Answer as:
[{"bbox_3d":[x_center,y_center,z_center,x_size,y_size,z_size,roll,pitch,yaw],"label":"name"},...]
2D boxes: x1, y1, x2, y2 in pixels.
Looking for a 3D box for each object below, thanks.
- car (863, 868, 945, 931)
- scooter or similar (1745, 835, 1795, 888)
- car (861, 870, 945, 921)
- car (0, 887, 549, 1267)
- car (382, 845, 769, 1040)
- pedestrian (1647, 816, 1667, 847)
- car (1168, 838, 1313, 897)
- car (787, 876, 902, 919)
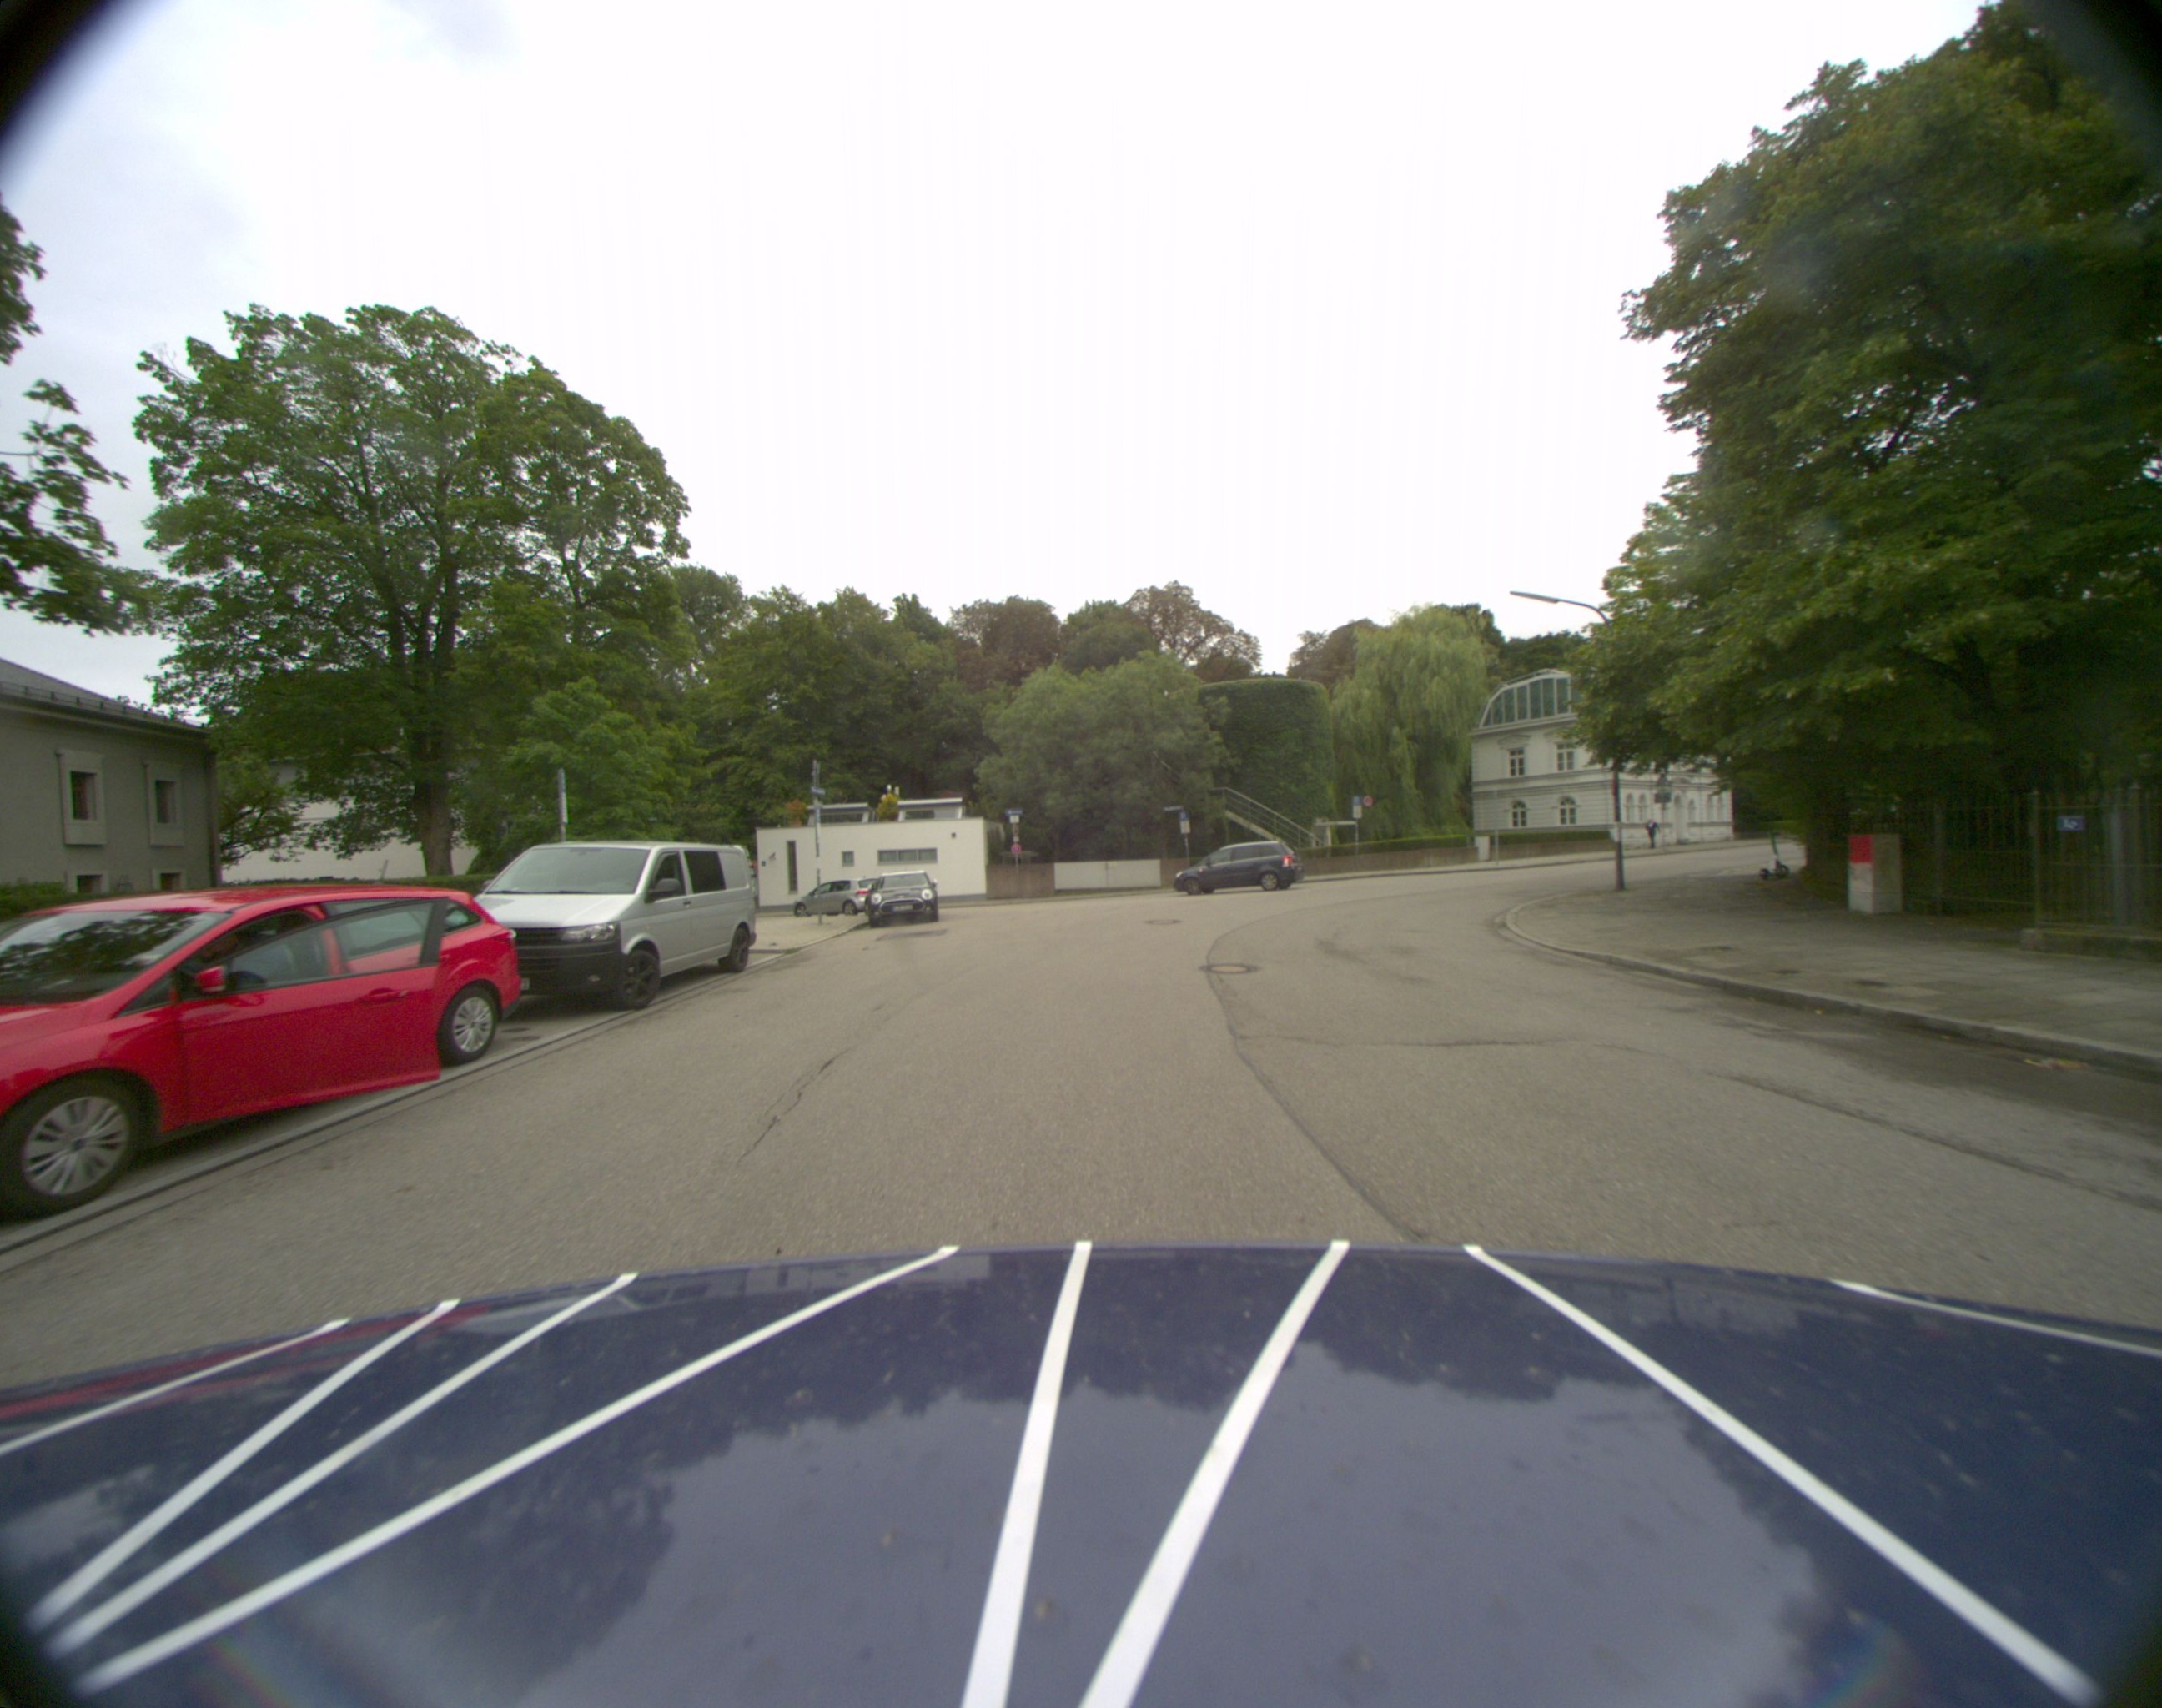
[{"bbox_3d":[-4.846,1.195,21.210,1.898,1.438,4.266,-4,-1,-11],"label":"car"},{"bbox_3d":[16.453,0.166,18.136,1.422,1.182,0.391,-3,-3,-31],"label":"scooter or similar"},{"bbox_3d":[-6.058,1.383,25.506,1.899,1.438,4.008,-4,-1,-25],"label":"car"},{"bbox_3d":[-5.760,1.041,4.736,1.876,1.498,4.835,0,0,-6],"label":"car"},{"bbox_3d":[-5.969,0.877,9.967,1.940,1.893,5.070,0,0,-4],"label":"car"},{"bbox_3d":[32.498,-1.264,42.873,0.769,1.697,0.678,-6,6,-38],"label":"pedestrian"},{"bbox_3d":[5.446,0.488,26.121,4.324,1.683,2.003,-5,0,34],"label":"car"},{"bbox_3d":[-9.122,1.665,29.280,4.005,1.437,1.945,-4,-2,29],"label":"car"}]
